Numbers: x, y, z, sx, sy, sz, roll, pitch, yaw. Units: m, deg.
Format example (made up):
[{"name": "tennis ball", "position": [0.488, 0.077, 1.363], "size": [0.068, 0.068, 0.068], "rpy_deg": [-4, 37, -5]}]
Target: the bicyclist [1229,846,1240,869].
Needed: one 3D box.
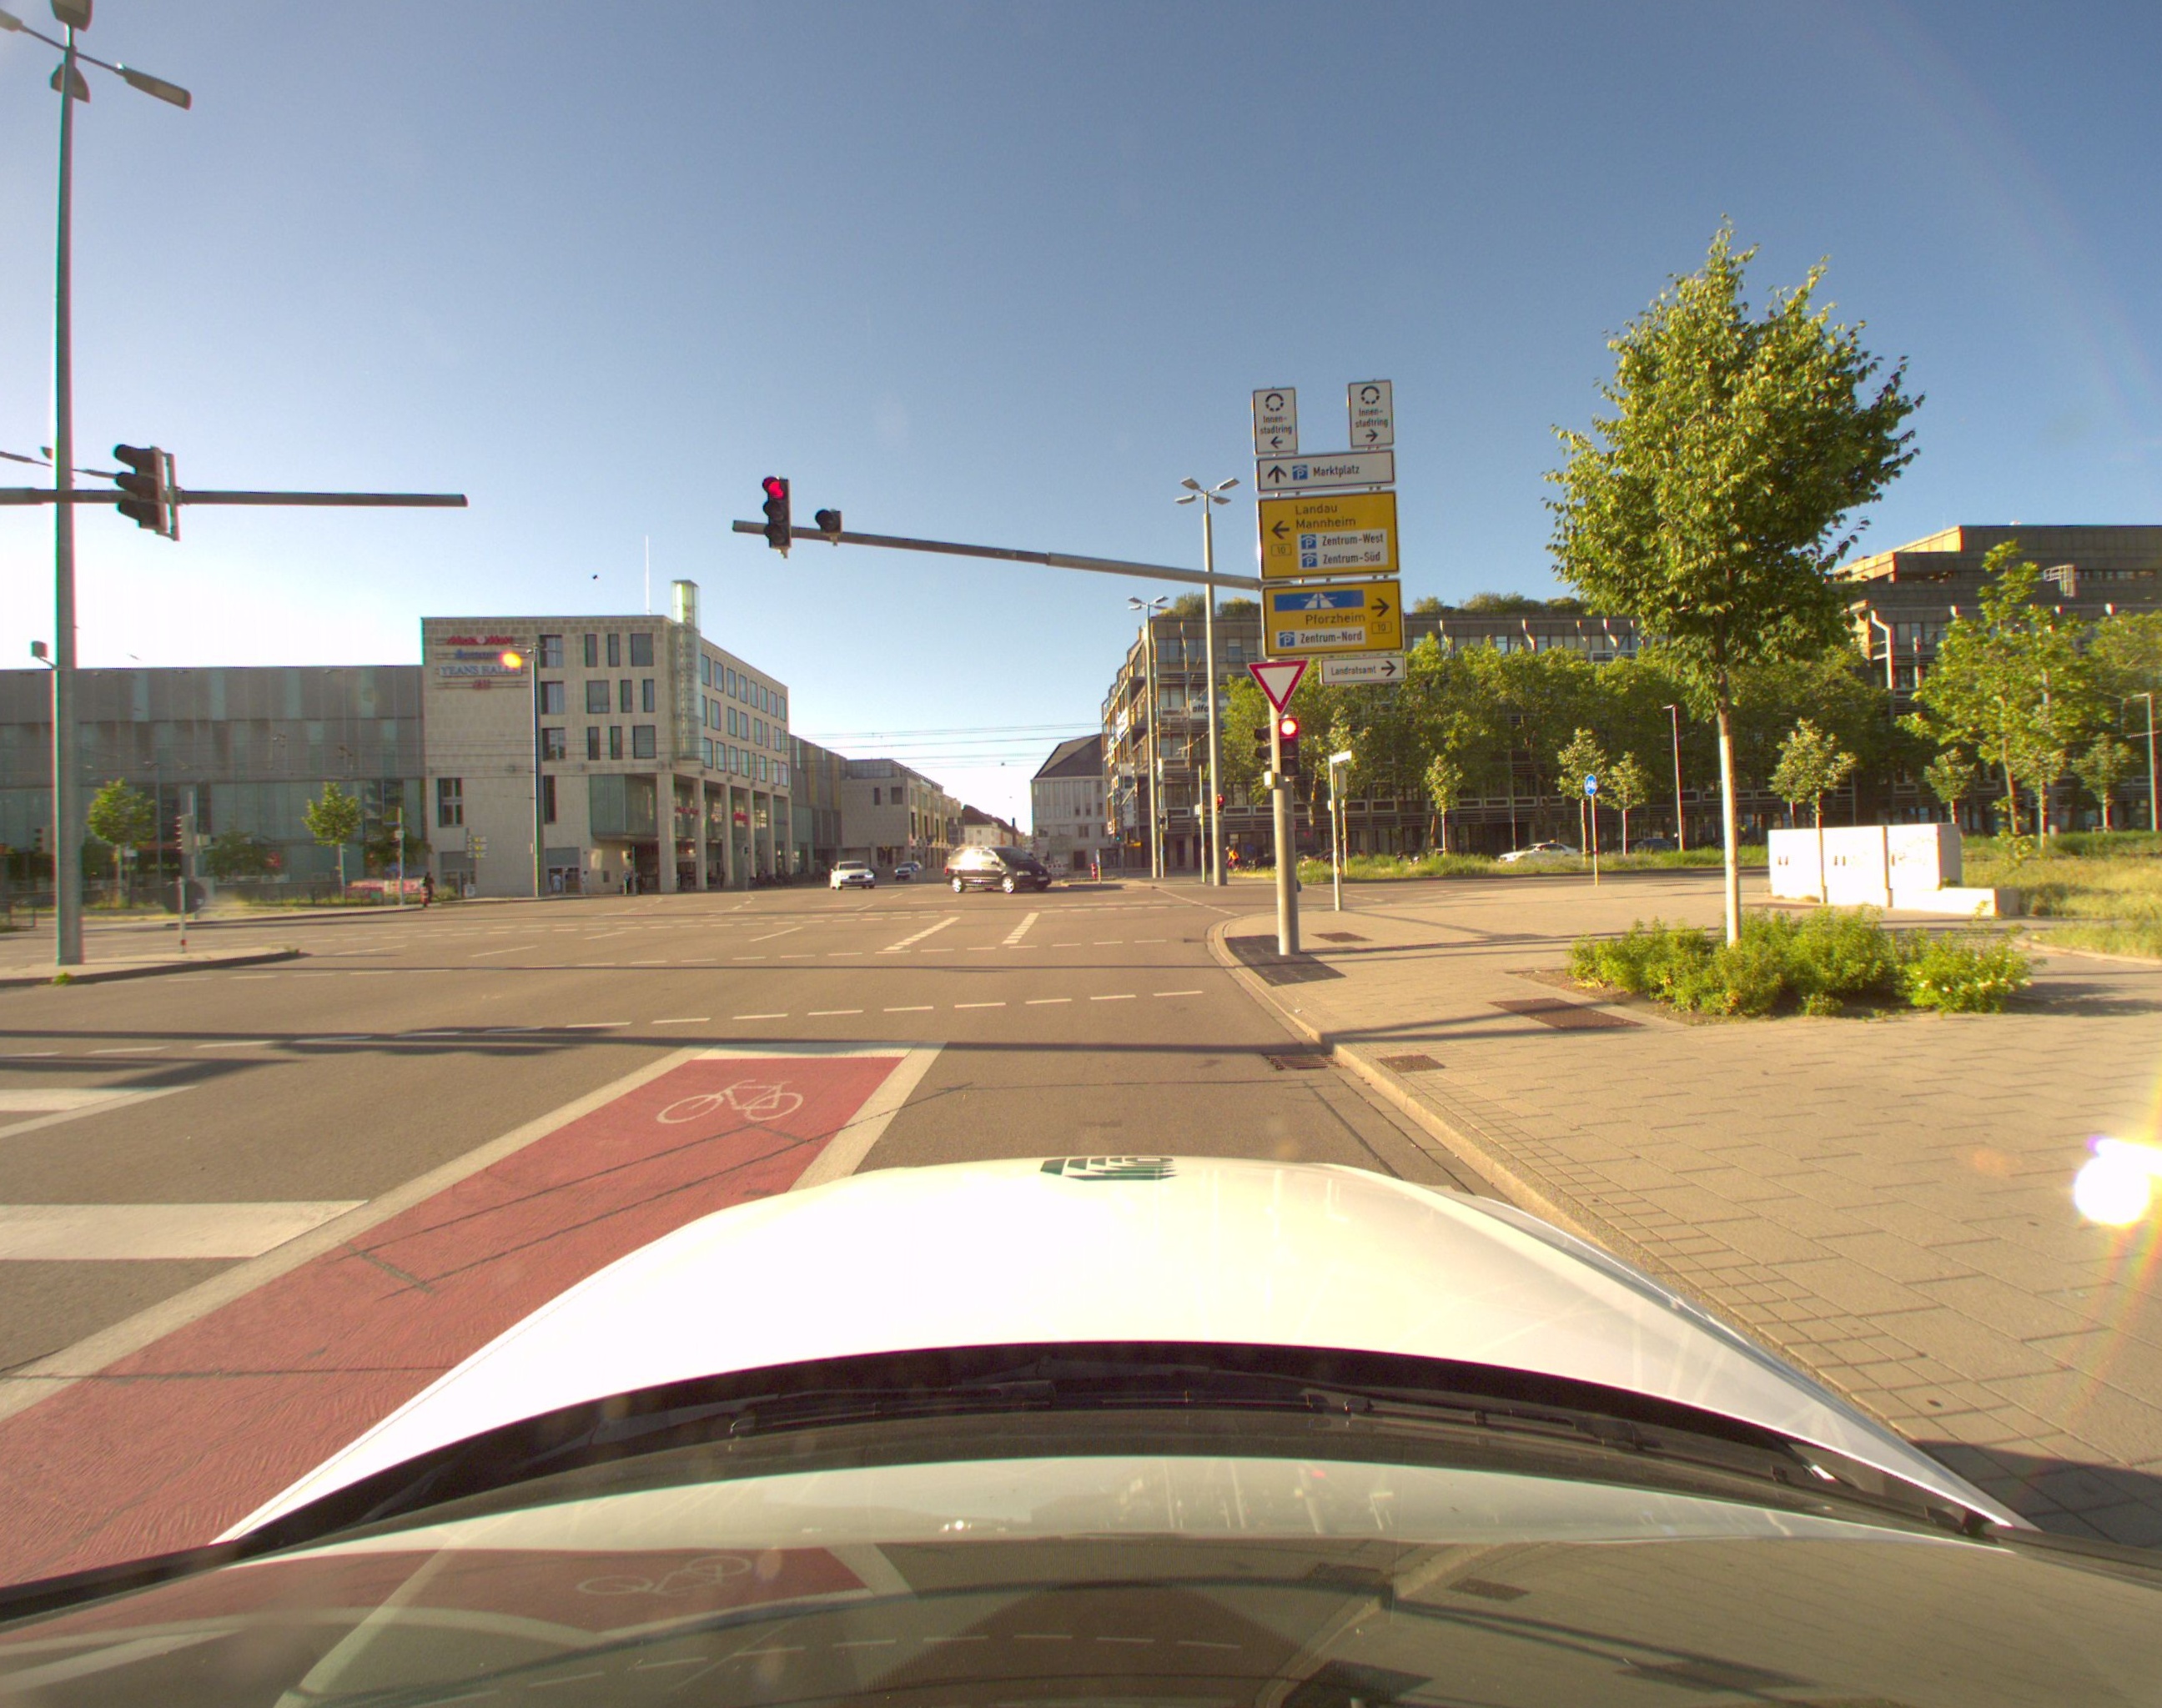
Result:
[{"name": "bicyclist", "position": [8.898, 0.211, 47.192], "size": [0.506, 1.338, 0.453], "rpy_deg": [-2, 0, 3]}]

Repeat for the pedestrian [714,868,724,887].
[{"name": "pedestrian", "position": [-31.805, 2.040, 71.567], "size": [0.627, 1.608, 0.646], "rpy_deg": [-2, 0, -35]}]

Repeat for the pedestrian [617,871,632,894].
[{"name": "pedestrian", "position": [-32.984, 2.079, 58.830], "size": [0.621, 1.608, 0.653], "rpy_deg": [-2, 0, 0]}]

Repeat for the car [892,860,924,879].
[{"name": "car", "position": [-15.512, 1.355, 73.166], "size": [1.988, 1.623, 4.234], "rpy_deg": [-2, 0, -2]}]

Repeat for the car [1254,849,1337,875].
[{"name": "car", "position": [13.378, 0.486, 50.866], "size": [4.620, 1.356, 1.998], "rpy_deg": [-2, 1, -3]}]

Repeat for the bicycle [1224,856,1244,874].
[{"name": "bicycle", "position": [8.859, 0.650, 47.187], "size": [1.072, 0.971, 0.458], "rpy_deg": [-2, 0, 2]}]

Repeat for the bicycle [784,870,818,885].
[{"name": "bicycle", "position": [-27.927, 2.328, 81.269], "size": [3.044, 1.400, 0.901], "rpy_deg": [-2, 0, -4]}]

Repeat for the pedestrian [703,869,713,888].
[{"name": "pedestrian", "position": [-32.495, 2.100, 70.943], "size": [0.627, 1.608, 0.646], "rpy_deg": [-2, 0, -35]}]

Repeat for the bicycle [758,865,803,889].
[{"name": "bicycle", "position": [-27.717, 2.099, 75.211], "size": [3.613, 2.013, 1.085], "rpy_deg": [-2, 0, -4]}]

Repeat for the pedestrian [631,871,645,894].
[{"name": "pedestrian", "position": [-31.975, 2.071, 58.779], "size": [0.621, 1.608, 0.653], "rpy_deg": [-2, 0, 0]}]

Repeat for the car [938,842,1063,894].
[{"name": "car", "position": [-3.051, 0.474, 30.348], "size": [4.587, 1.742, 2.013], "rpy_deg": [-1, 2, 42]}]

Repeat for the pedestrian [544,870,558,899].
[{"name": "pedestrian", "position": [-38.313, 2.194, 58.848], "size": [0.622, 2.013, 0.515], "rpy_deg": [-2, 0, -8]}]

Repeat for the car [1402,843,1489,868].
[{"name": "car", "position": [22.961, 0.081, 51.451], "size": [4.620, 1.356, 1.998], "rpy_deg": [-2, 1, -3]}]

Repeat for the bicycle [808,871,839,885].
[{"name": "bicycle", "position": [-28.110, 2.616, 88.994], "size": [3.044, 1.400, 0.901], "rpy_deg": [-2, 0, -4]}]

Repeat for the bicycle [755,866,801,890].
[{"name": "bicycle", "position": [-26.889, 2.109, 72.260], "size": [3.613, 2.013, 1.085], "rpy_deg": [-2, 0, -4]}]

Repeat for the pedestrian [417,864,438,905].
[{"name": "pedestrian", "position": [-32.356, 1.496, 40.311], "size": [0.515, 2.013, 0.622], "rpy_deg": [-2, 0, -12]}]

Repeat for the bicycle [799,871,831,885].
[{"name": "bicycle", "position": [-27.998, 2.511, 85.693], "size": [3.044, 1.400, 0.901], "rpy_deg": [-2, 0, -4]}]

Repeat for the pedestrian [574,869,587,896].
[{"name": "pedestrian", "position": [-36.996, 2.096, 60.229], "size": [0.622, 2.013, 0.515], "rpy_deg": [-2, 0, -8]}]

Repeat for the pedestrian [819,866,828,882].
[{"name": "pedestrian", "position": [-25.616, 2.006, 81.086], "size": [0.746, 1.608, 0.619], "rpy_deg": [-2, 0, -27]}]

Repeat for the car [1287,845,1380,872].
[{"name": "car", "position": [14.287, 0.241, 46.184], "size": [4.620, 1.356, 1.998], "rpy_deg": [-2, 1, -3]}]

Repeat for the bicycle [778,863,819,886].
[{"name": "bicycle", "position": [-27.799, 2.009, 80.292], "size": [3.613, 2.013, 0.901], "rpy_deg": [-2, 0, -4]}]

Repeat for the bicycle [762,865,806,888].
[{"name": "bicycle", "position": [-27.822, 2.118, 76.359], "size": [3.613, 2.013, 1.085], "rpy_deg": [-2, 0, -4]}]

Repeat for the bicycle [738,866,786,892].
[{"name": "bicycle", "position": [-27.176, 2.122, 69.464], "size": [3.617, 2.013, 1.084], "rpy_deg": [-2, 0, -7]}]

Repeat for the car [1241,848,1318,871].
[{"name": "car", "position": [13.078, 0.347, 53.832], "size": [4.620, 1.356, 1.998], "rpy_deg": [-2, 1, -3]}]

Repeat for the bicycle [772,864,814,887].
[{"name": "bicycle", "position": [-27.686, 2.088, 78.449], "size": [3.613, 2.013, 0.901], "rpy_deg": [-2, 0, -4]}]

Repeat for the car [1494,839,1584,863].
[{"name": "car", "position": [28.998, -0.193, 51.647], "size": [4.620, 1.356, 1.998], "rpy_deg": [-2, 1, -3]}]

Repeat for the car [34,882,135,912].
[{"name": "car", "position": [-60.899, 2.627, 49.821], "size": [3.770, 1.564, 1.779], "rpy_deg": [-2, 0, -4]}]

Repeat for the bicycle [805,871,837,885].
[{"name": "bicycle", "position": [-27.961, 2.560, 87.580], "size": [3.044, 1.400, 0.901], "rpy_deg": [-2, 0, -4]}]

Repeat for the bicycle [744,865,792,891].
[{"name": "bicycle", "position": [-27.203, 2.071, 70.802], "size": [3.613, 2.013, 1.085], "rpy_deg": [-2, 0, -4]}]

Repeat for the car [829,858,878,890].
[{"name": "car", "position": [-11.723, 0.978, 41.838], "size": [2.001, 1.356, 4.614], "rpy_deg": [-2, 1, -21]}]

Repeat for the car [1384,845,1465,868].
[{"name": "car", "position": [23.171, 0.177, 55.051], "size": [4.620, 1.356, 1.998], "rpy_deg": [-2, 1, -3]}]
